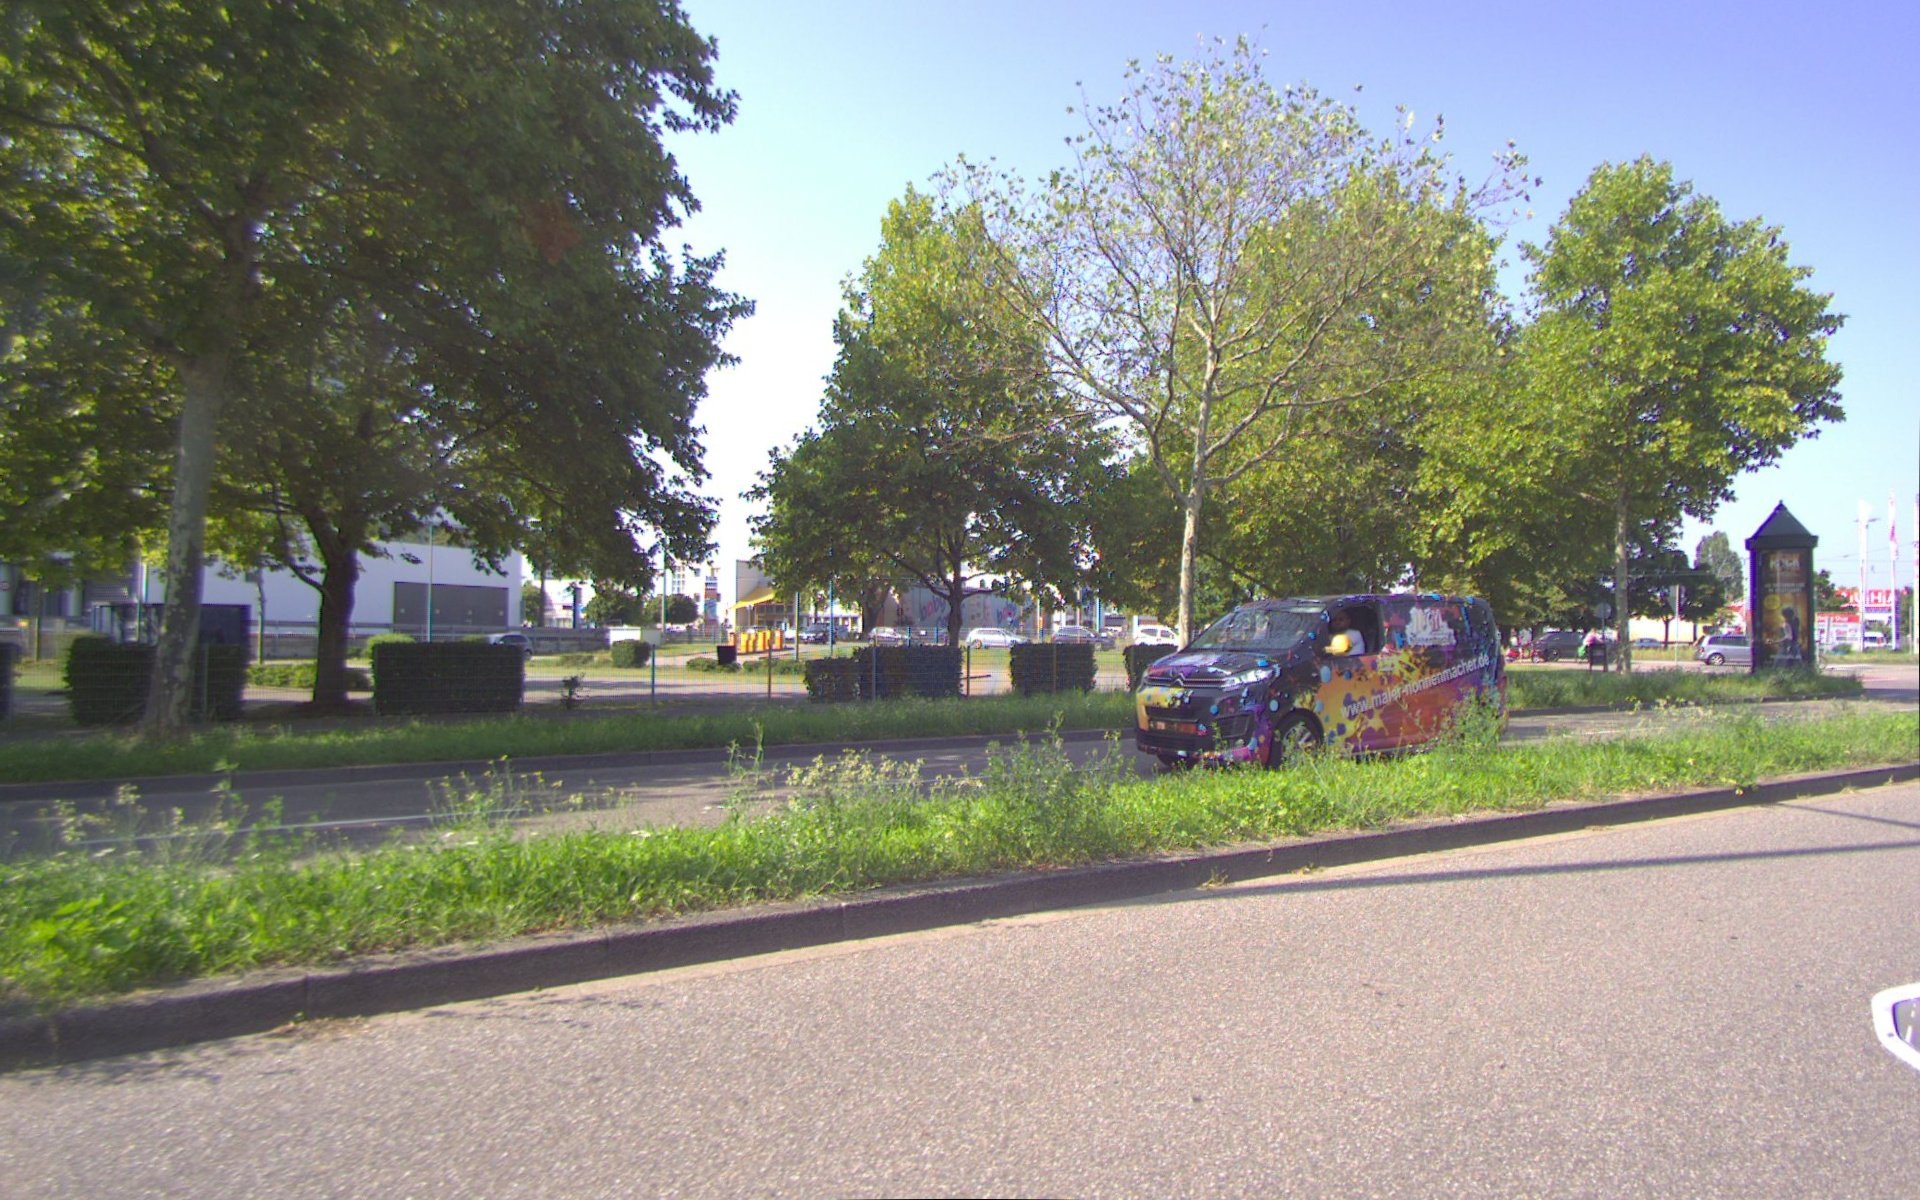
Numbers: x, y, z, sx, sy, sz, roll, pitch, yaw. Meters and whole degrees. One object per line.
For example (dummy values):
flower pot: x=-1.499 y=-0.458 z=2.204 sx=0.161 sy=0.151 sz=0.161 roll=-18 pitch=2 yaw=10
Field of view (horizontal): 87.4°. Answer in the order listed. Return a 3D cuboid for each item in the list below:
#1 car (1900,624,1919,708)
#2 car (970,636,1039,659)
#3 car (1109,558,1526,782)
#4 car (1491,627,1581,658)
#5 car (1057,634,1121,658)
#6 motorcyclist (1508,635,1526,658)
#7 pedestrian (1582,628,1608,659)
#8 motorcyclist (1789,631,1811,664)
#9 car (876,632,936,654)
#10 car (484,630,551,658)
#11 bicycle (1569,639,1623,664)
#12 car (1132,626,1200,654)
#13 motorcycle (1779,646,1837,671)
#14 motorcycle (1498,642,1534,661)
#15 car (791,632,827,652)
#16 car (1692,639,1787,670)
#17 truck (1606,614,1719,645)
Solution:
car: x=22.040 y=1.394 z=21.239 sx=4.452 sy=1.728 sz=1.984 roll=2 pitch=-3 yaw=-30
car: x=3.131 y=3.287 z=70.514 sx=4.501 sy=1.565 sz=1.870 roll=-1 pitch=-2 yaw=23
car: x=4.036 y=0.727 z=11.192 sx=4.512 sy=2.054 sz=1.923 roll=2 pitch=-2 yaw=-30
car: x=32.237 y=2.355 z=56.325 sx=4.229 sy=1.600 sz=1.571 roll=1 pitch=-1 yaw=24
car: x=8.673 y=3.115 z=67.748 sx=3.926 sy=1.565 sz=1.838 roll=-1 pitch=-2 yaw=27
motorcyclist: x=30.768 y=2.561 z=55.483 sx=0.815 sy=1.194 sz=0.691 roll=1 pitch=-1 yaw=27
pedestrian: x=33.252 y=2.264 z=52.606 sx=1.038 sy=1.595 sz=0.868 roll=1 pitch=-1 yaw=26
motorcyclist: x=40.872 y=2.308 z=48.869 sx=0.671 sy=1.593 sz=0.683 roll=1 pitch=-1 yaw=26
car: x=-3.918 y=3.101 z=73.062 sx=3.921 sy=1.565 sz=1.840 roll=-1 pitch=-2 yaw=20
car: x=-23.912 y=2.360 z=54.308 sx=1.356 sy=1.455 sz=3.122 roll=1 pitch=-1 yaw=28
bicycle: x=33.271 y=2.675 z=52.600 sx=2.316 sy=1.252 sz=0.873 roll=1 pitch=-1 yaw=26
car: x=13.170 y=2.544 z=64.257 sx=3.924 sy=1.701 sz=1.869 roll=1 pitch=-1 yaw=25
motorcycle: x=41.121 y=2.810 z=48.727 sx=2.037 sy=1.151 sz=0.677 roll=0 pitch=-2 yaw=27
motorcycle: x=30.721 y=2.852 z=55.496 sx=1.689 sy=0.957 sz=0.711 roll=1 pitch=-1 yaw=27
car: x=-12.133 y=3.339 z=80.465 sx=1.815 sy=1.565 sz=3.975 roll=1 pitch=-2 yaw=-25
car: x=40.476 y=2.810 z=52.245 sx=3.633 sy=1.462 sz=1.465 roll=1 pitch=-1 yaw=26
truck: x=70.743 y=2.986 z=101.422 sx=8.846 sy=2.996 sz=3.511 roll=-1 pitch=-3 yaw=26
